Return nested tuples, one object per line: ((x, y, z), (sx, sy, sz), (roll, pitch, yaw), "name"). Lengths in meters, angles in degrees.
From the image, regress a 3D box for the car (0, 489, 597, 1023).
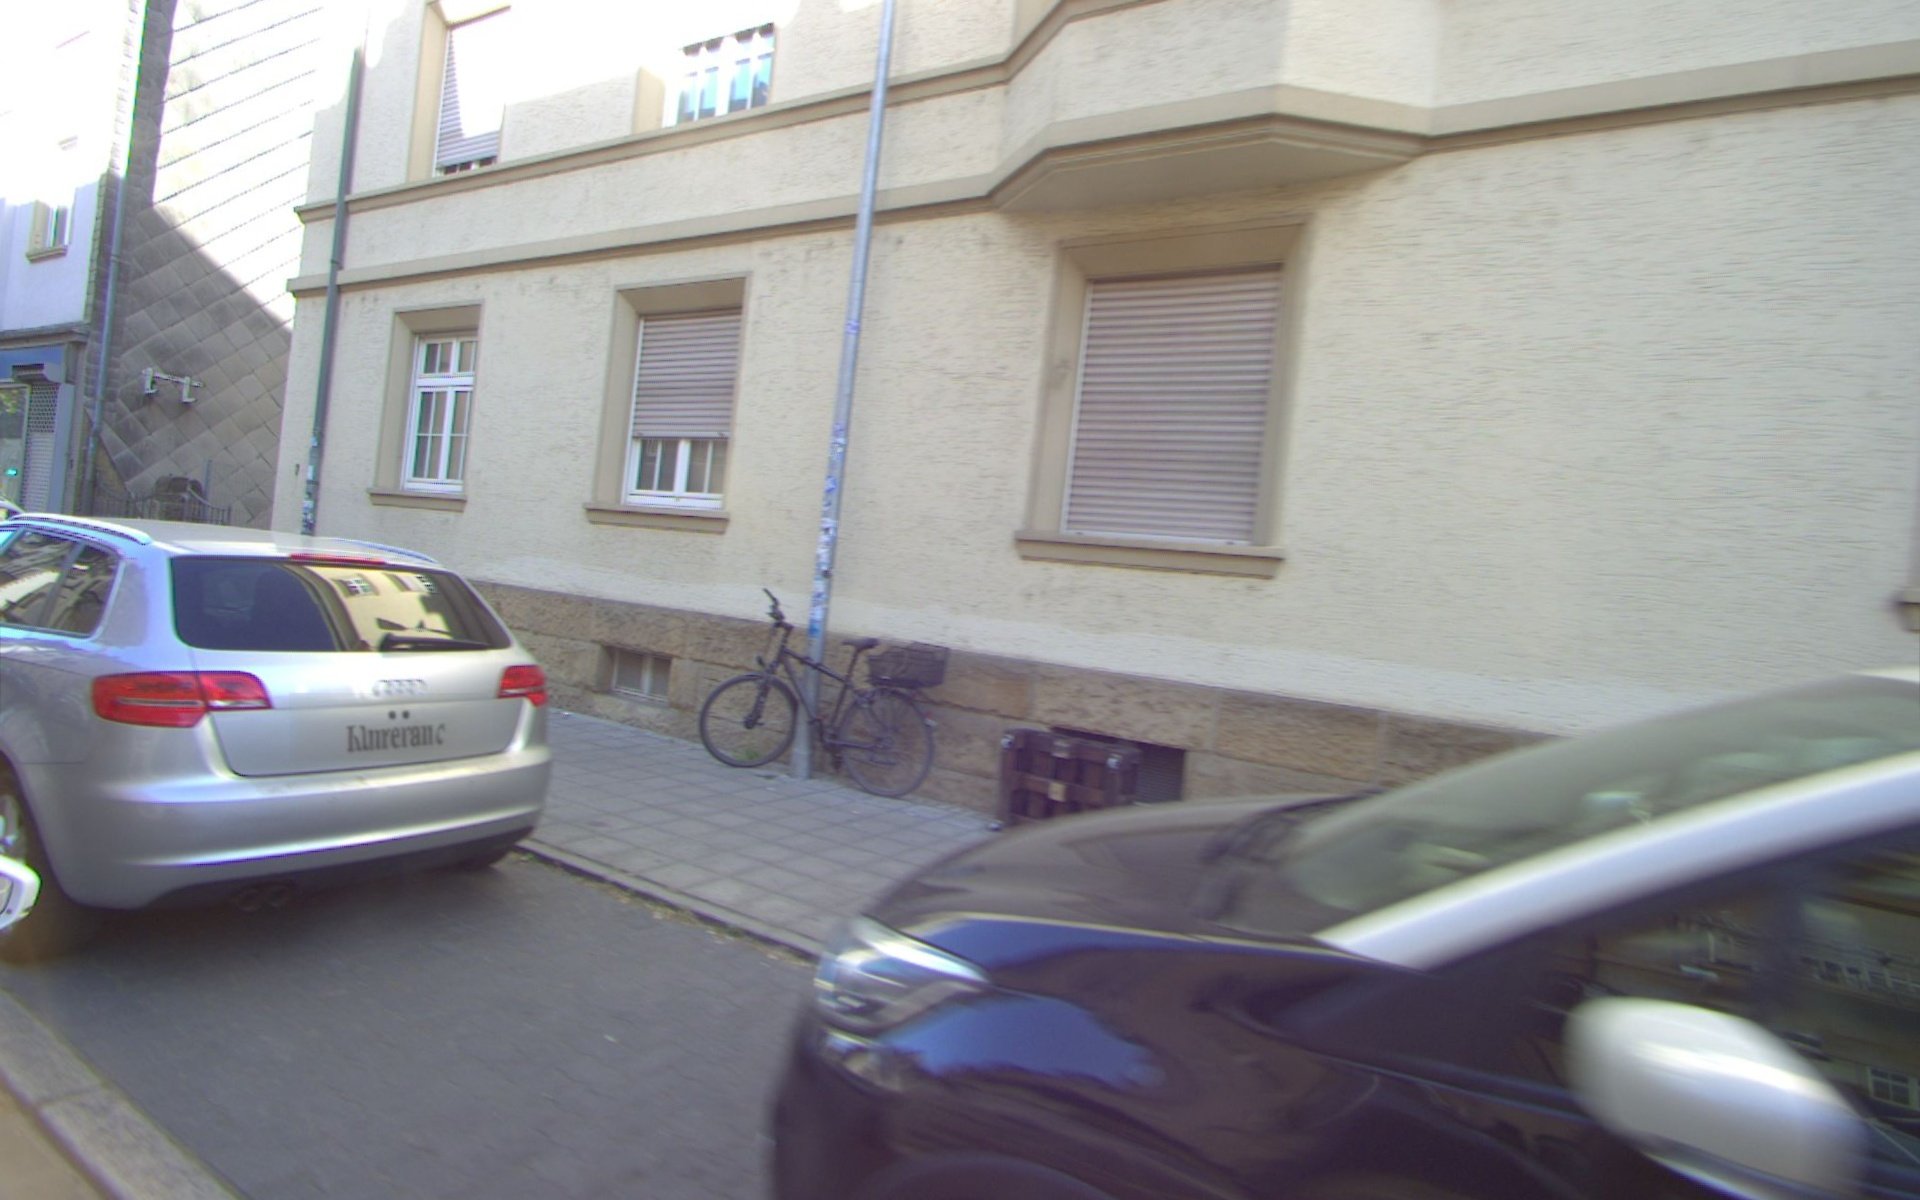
((-3.745, 0.323, 4.603), (4.026, 1.482, 1.655), (7, 0, 31), "car")

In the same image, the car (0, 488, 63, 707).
((-8.302, -0.231, 7.251), (3.649, 1.482, 1.588), (7, 0, 30), "car")

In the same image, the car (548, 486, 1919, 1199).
((1.338, 0.810, 1.506), (3.851, 1.565, 1.681), (7, 1, 33), "car")

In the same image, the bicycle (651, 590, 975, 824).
((-1.005, 0.667, 6.812), (1.921, 1.215, 0.832), (7, 0, 27), "bicycle")
